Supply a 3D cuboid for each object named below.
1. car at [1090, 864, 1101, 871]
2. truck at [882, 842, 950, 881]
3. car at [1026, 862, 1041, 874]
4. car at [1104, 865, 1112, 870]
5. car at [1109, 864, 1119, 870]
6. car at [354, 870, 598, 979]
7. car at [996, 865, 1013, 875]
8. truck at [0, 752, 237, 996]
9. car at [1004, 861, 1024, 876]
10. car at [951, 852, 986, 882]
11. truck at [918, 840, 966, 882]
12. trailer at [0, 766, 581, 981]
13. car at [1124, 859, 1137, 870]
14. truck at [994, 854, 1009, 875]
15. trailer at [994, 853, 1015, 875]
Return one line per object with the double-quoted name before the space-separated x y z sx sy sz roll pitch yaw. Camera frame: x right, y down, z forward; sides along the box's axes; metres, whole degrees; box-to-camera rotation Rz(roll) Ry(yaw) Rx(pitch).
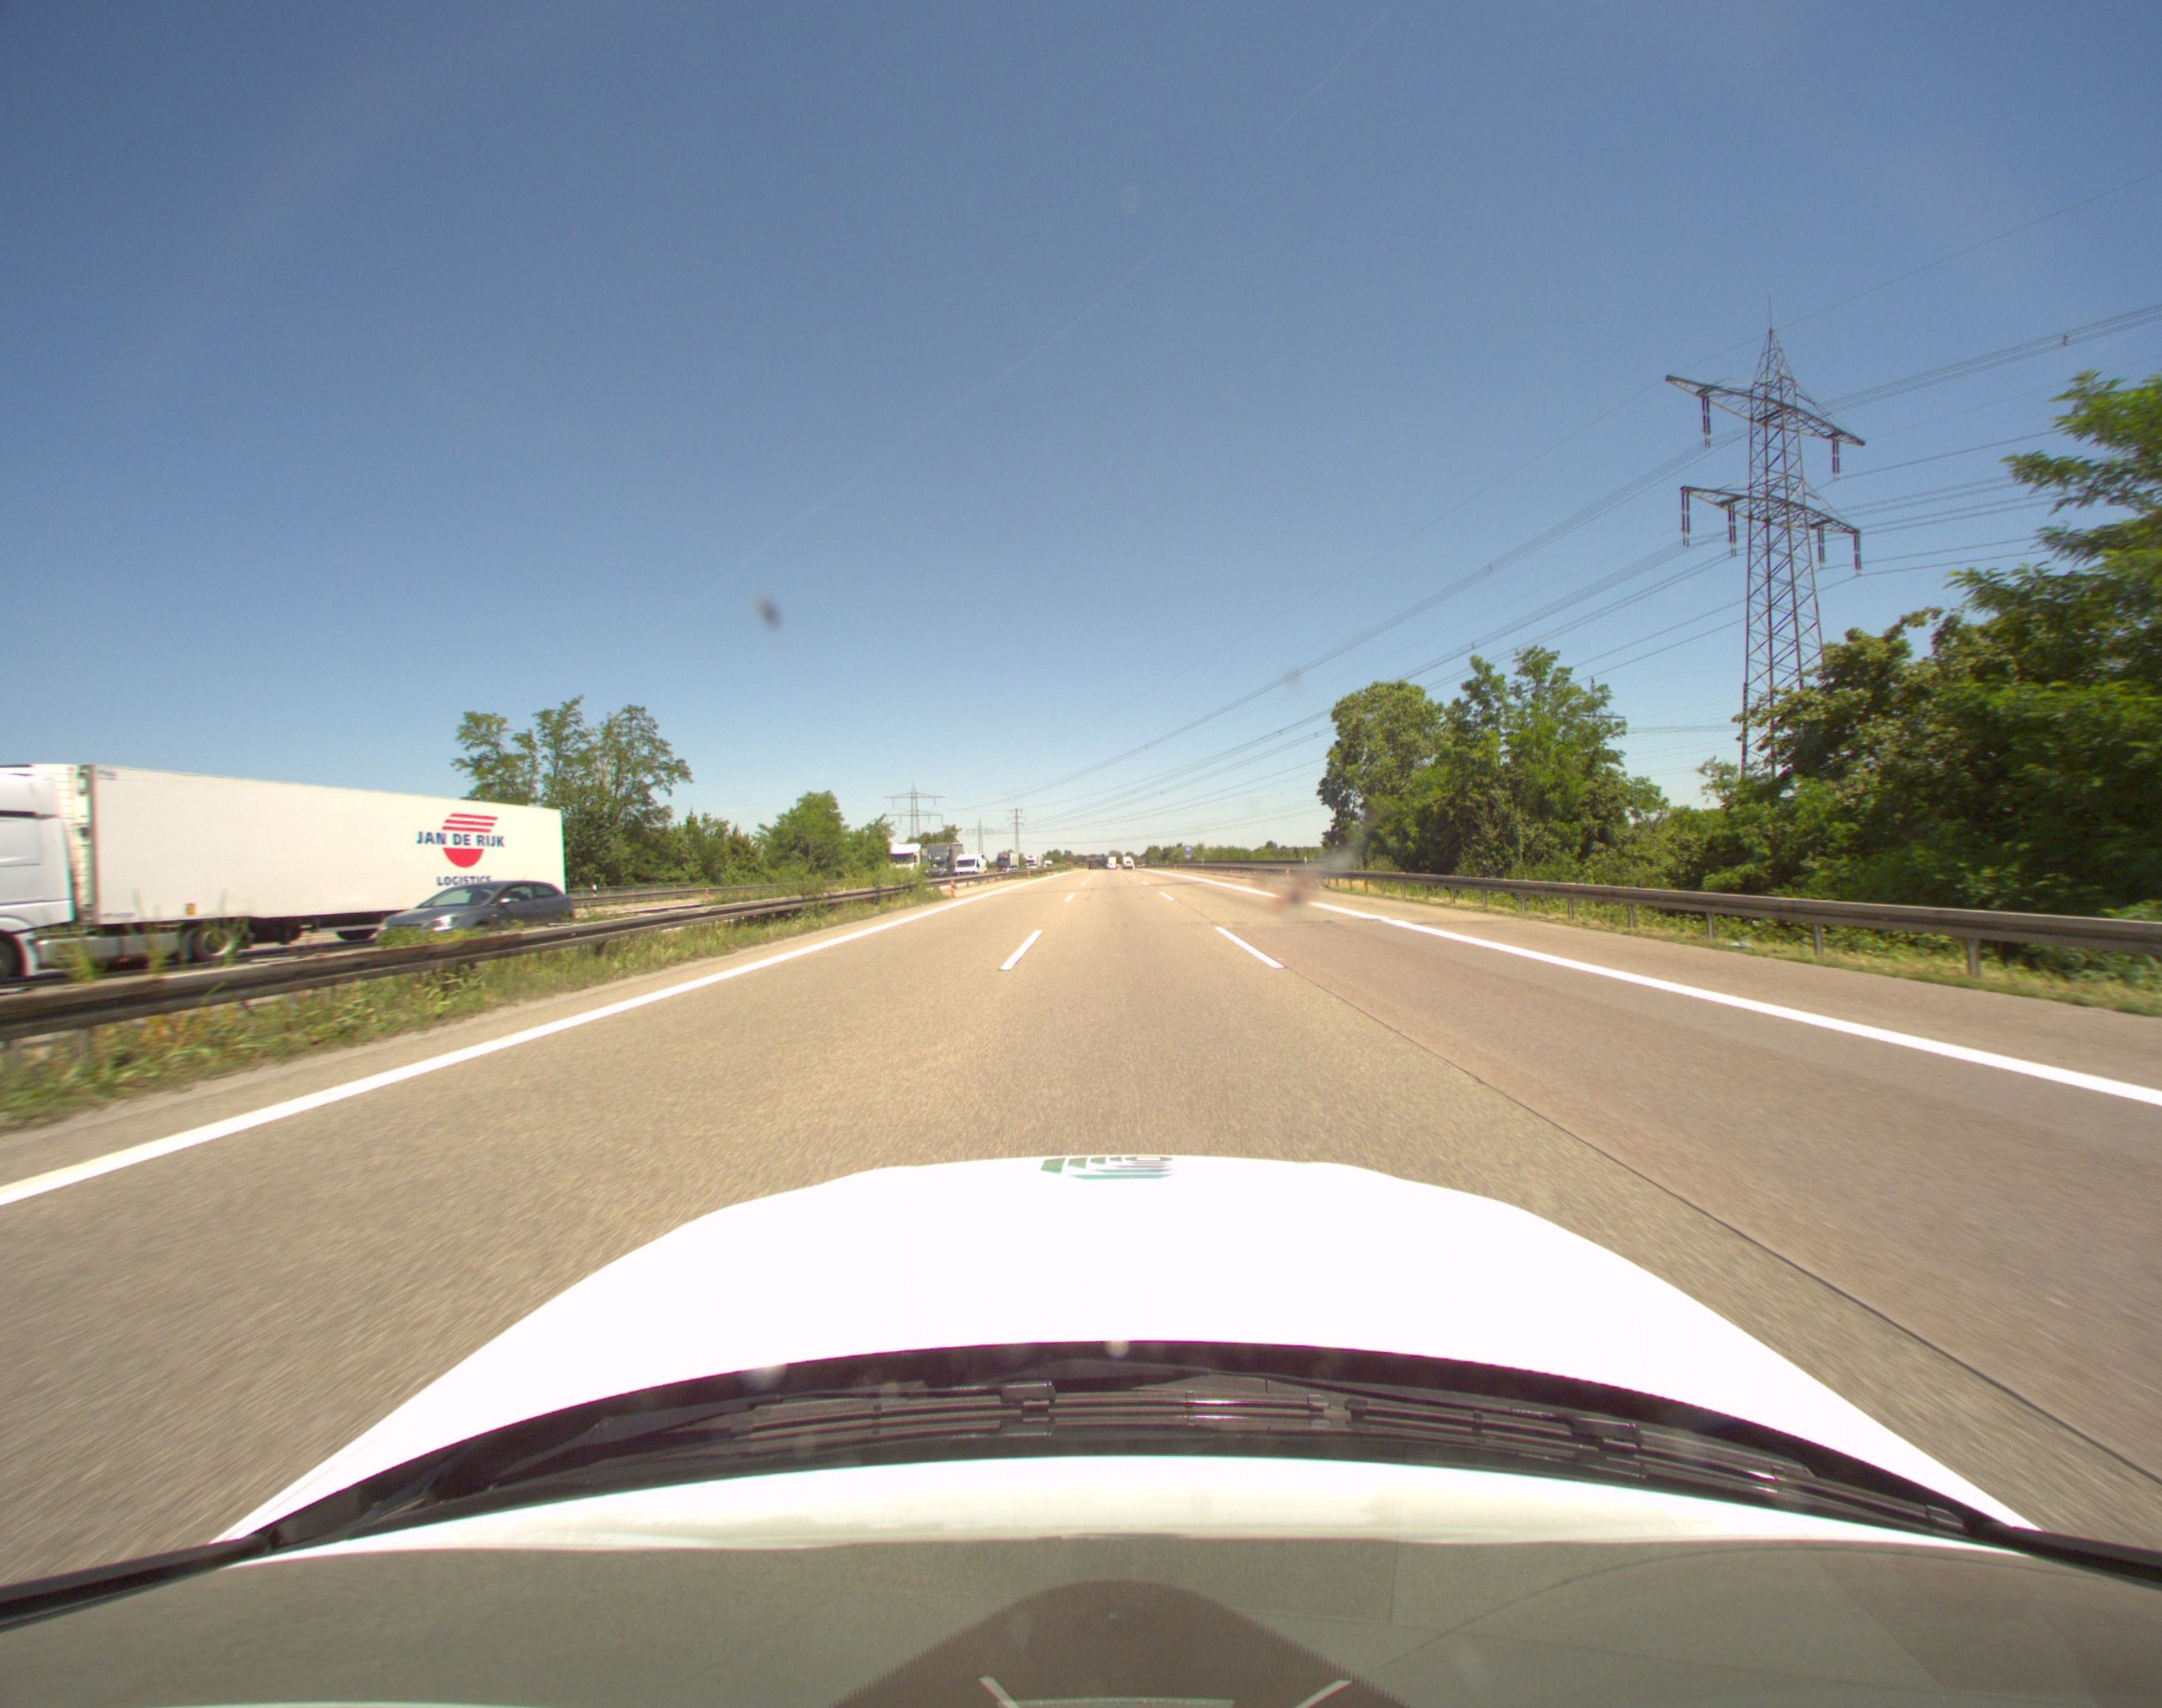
"car" 3.338 3.163 188.408 1.816 1.547 4.333 0 -1 12
"truck" -17.702 0.802 88.971 3.231 3.802 17.023 0 0 3
"car" -8.389 2.455 144.364 2.289 2.014 4.559 0 -1 2
"car" 8.465 4.376 256.444 1.816 1.547 4.333 0 -1 12
"car" 8.674 3.462 213.884 1.814 1.547 4.337 0 -1 16
"car" -12.375 1.340 17.054 1.986 1.891 4.001 -2 0 2
"car" -13.955 2.872 148.237 2.473 1.637 4.752 -3 -1 2
"truck" -20.003 0.368 15.277 2.733 4.207 5.296 0 -1 1
"car" -9.188 1.962 111.759 2.067 1.791 5.110 -3 -1 2
"car" -10.402 1.177 75.881 2.161 2.584 6.040 -2 0 2
"truck" -13.869 0.718 82.103 2.845 3.919 9.501 0 -1 3
"trailer" -19.858 0.429 22.987 2.734 4.207 13.949 0 0 1
"car" 10.483 2.186 172.575 2.433 2.321 5.323 -2 0 2
"truck" -15.863 2.009 163.194 2.414 4.111 4.922 0 -1 1
"trailer" -15.691 1.961 168.141 2.414 4.290 14.438 0 0 2
